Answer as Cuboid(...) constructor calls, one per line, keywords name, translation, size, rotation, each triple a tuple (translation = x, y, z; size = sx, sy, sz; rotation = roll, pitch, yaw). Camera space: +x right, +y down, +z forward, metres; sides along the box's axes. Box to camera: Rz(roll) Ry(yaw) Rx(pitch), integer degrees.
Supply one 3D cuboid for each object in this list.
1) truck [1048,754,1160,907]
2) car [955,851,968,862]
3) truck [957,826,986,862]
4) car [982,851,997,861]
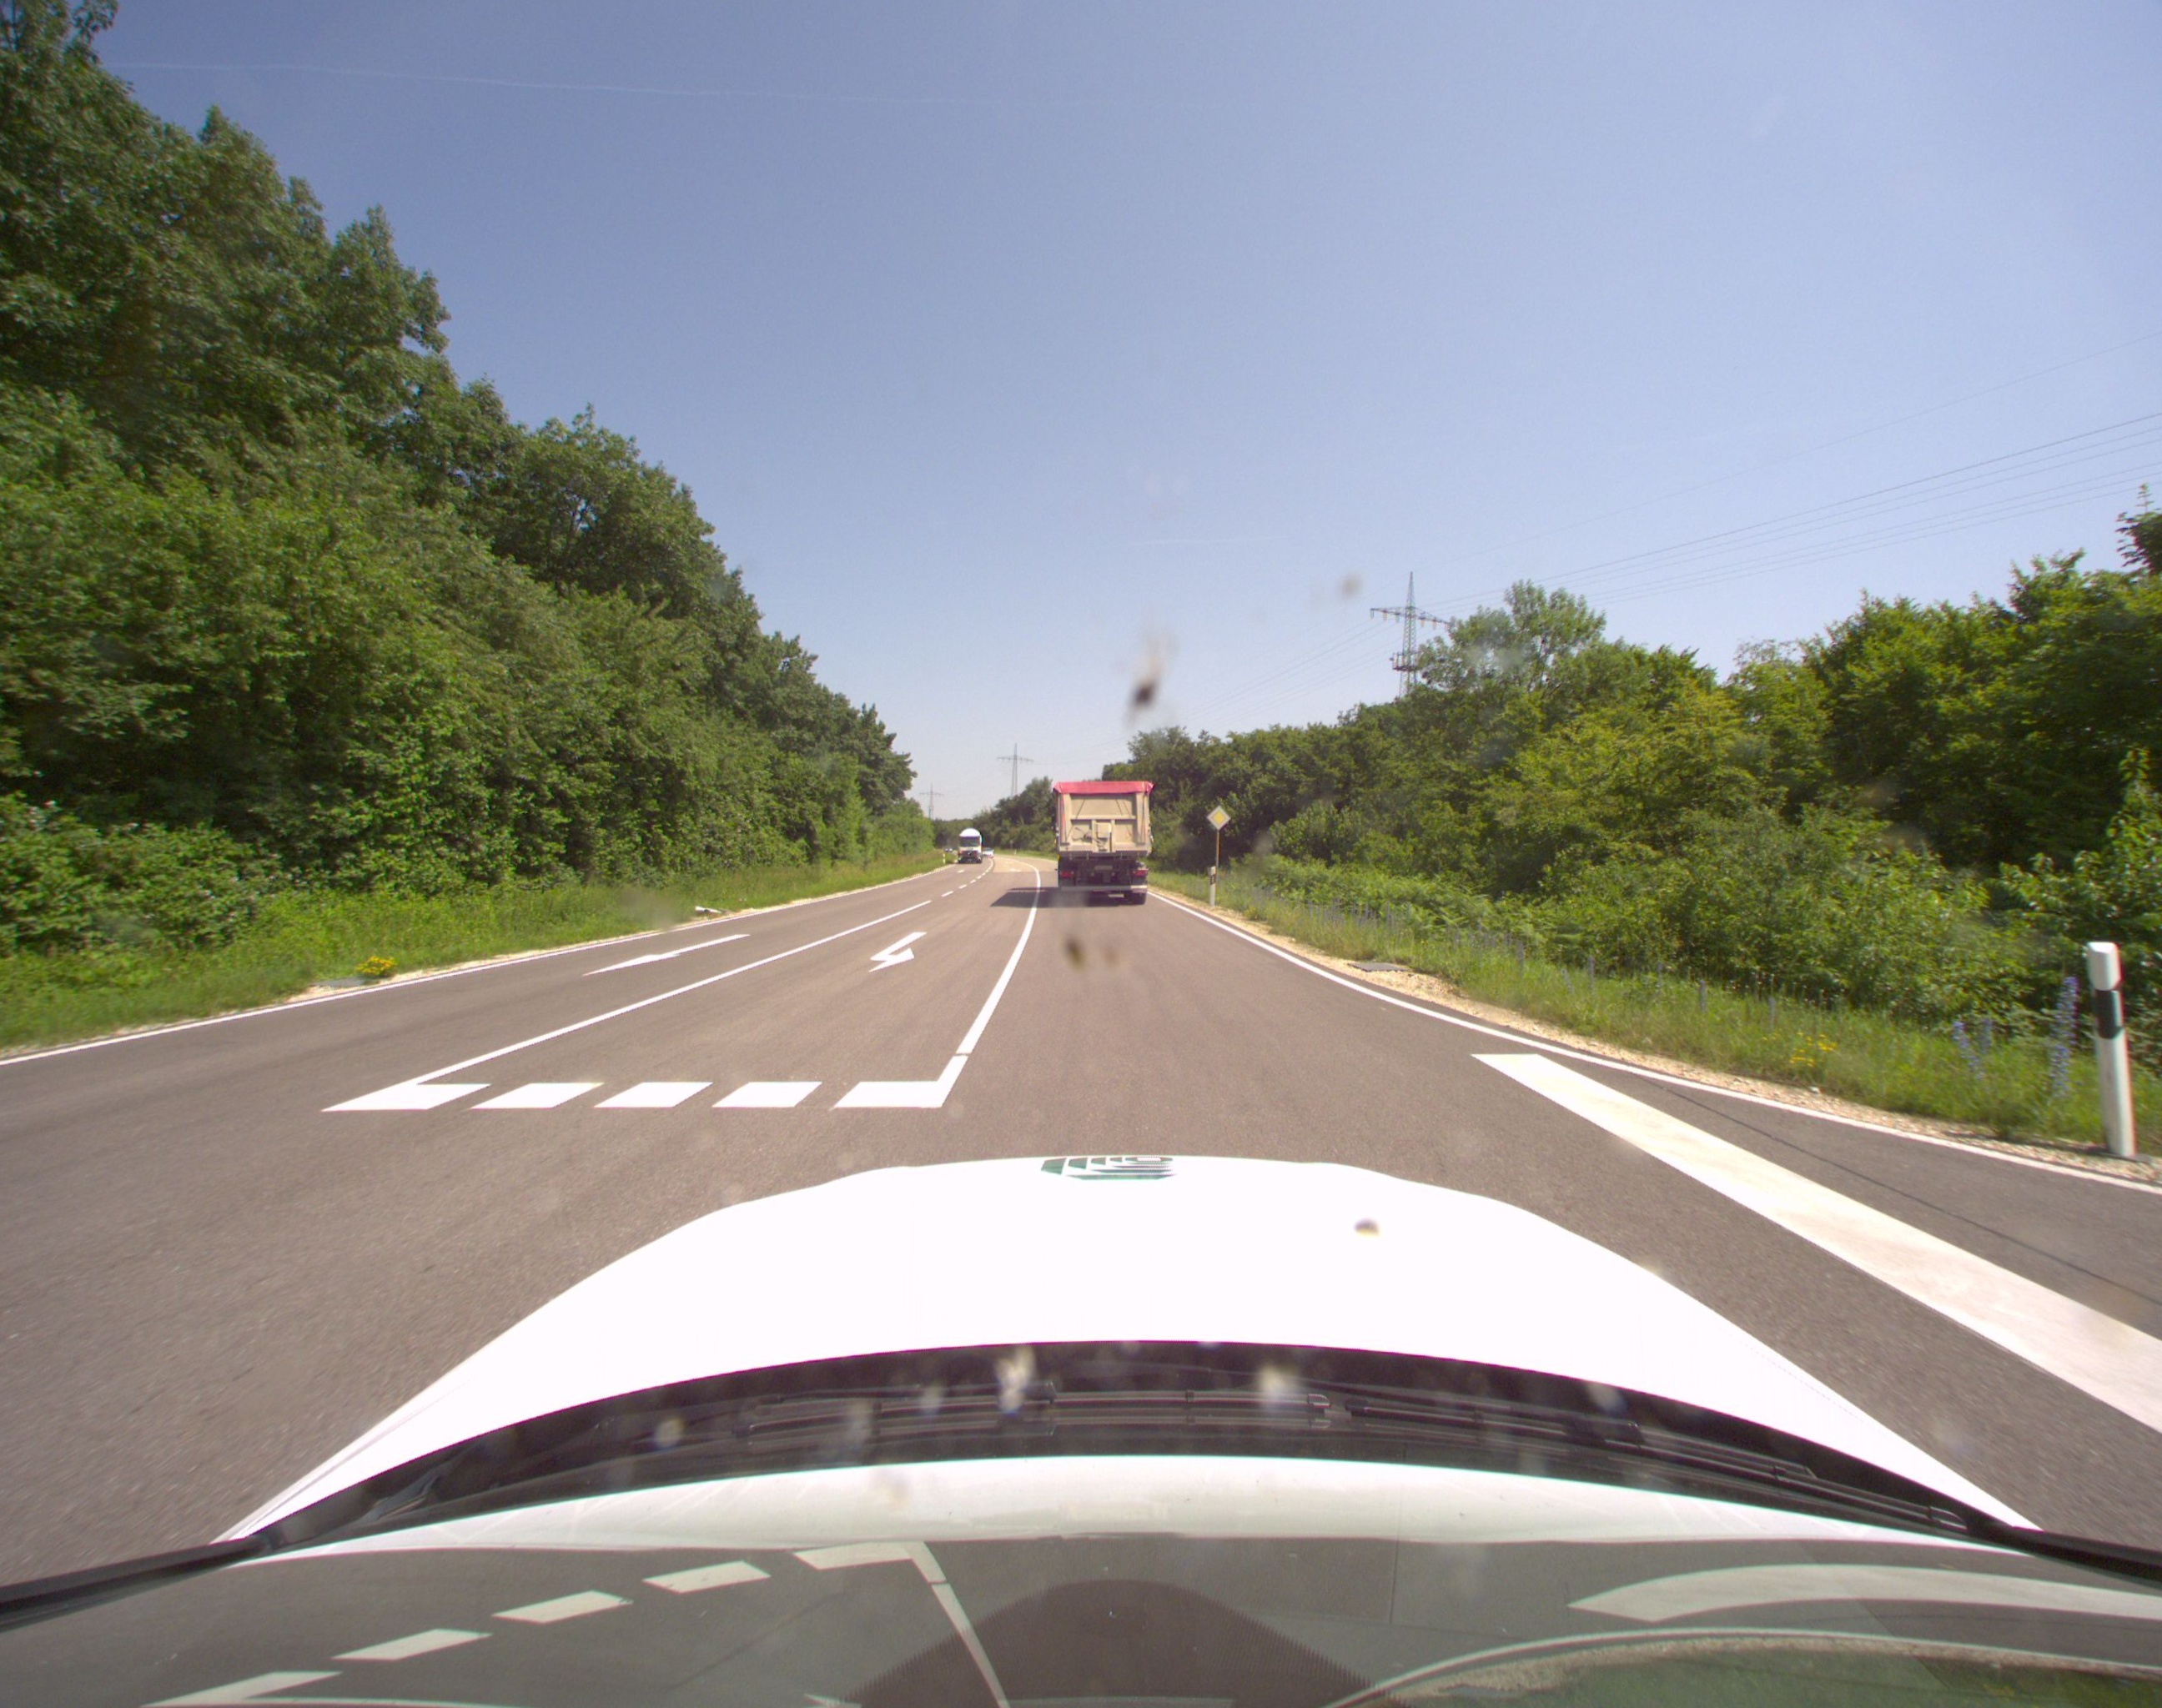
Cuboid(name="truck", translation=(0.467, -0.645, 27.208), size=(2.885, 3.962, 11.926), rotation=(-1, 0, -1))
Cuboid(name="car", translation=(-18.820, 0.391, 128.186), size=(1.840, 1.779, 4.882), rotation=(-1, -1, -6))
Cuboid(name="truck", translation=(-11.584, -1.034, 86.691), size=(2.623, 3.671, 8.781), rotation=(-1, 0, -5))
Cuboid(name="car", translation=(-13.372, 0.294, 118.922), size=(1.703, 1.419, 4.097), rotation=(-1, -1, 0))
